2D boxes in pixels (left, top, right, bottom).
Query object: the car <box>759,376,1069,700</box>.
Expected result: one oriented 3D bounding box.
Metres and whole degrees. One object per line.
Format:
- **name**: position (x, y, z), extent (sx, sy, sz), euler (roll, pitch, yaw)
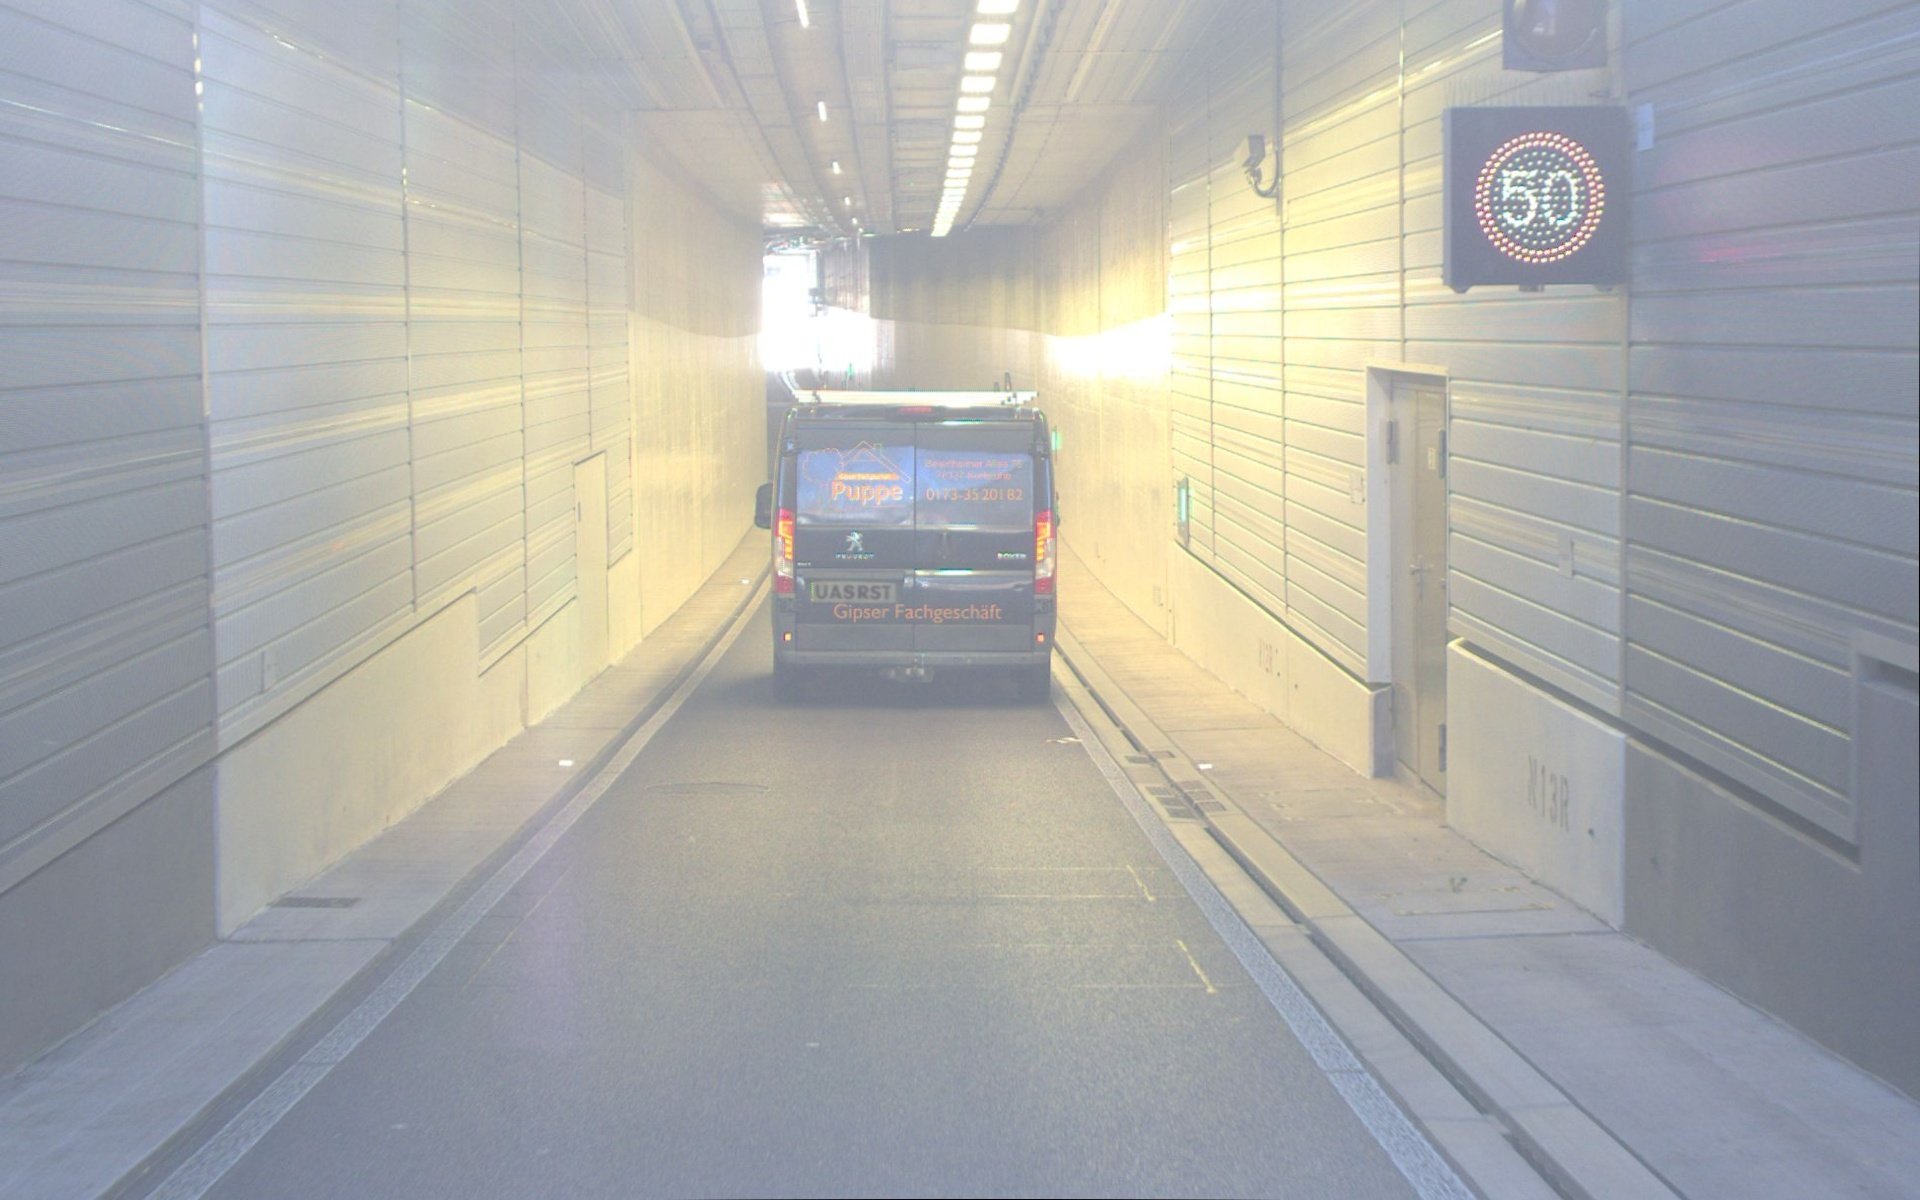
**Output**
- **car**: position (-0.349, -0.558, 26.337), extent (2.158, 2.258, 4.638), euler (0, 3, -1)
